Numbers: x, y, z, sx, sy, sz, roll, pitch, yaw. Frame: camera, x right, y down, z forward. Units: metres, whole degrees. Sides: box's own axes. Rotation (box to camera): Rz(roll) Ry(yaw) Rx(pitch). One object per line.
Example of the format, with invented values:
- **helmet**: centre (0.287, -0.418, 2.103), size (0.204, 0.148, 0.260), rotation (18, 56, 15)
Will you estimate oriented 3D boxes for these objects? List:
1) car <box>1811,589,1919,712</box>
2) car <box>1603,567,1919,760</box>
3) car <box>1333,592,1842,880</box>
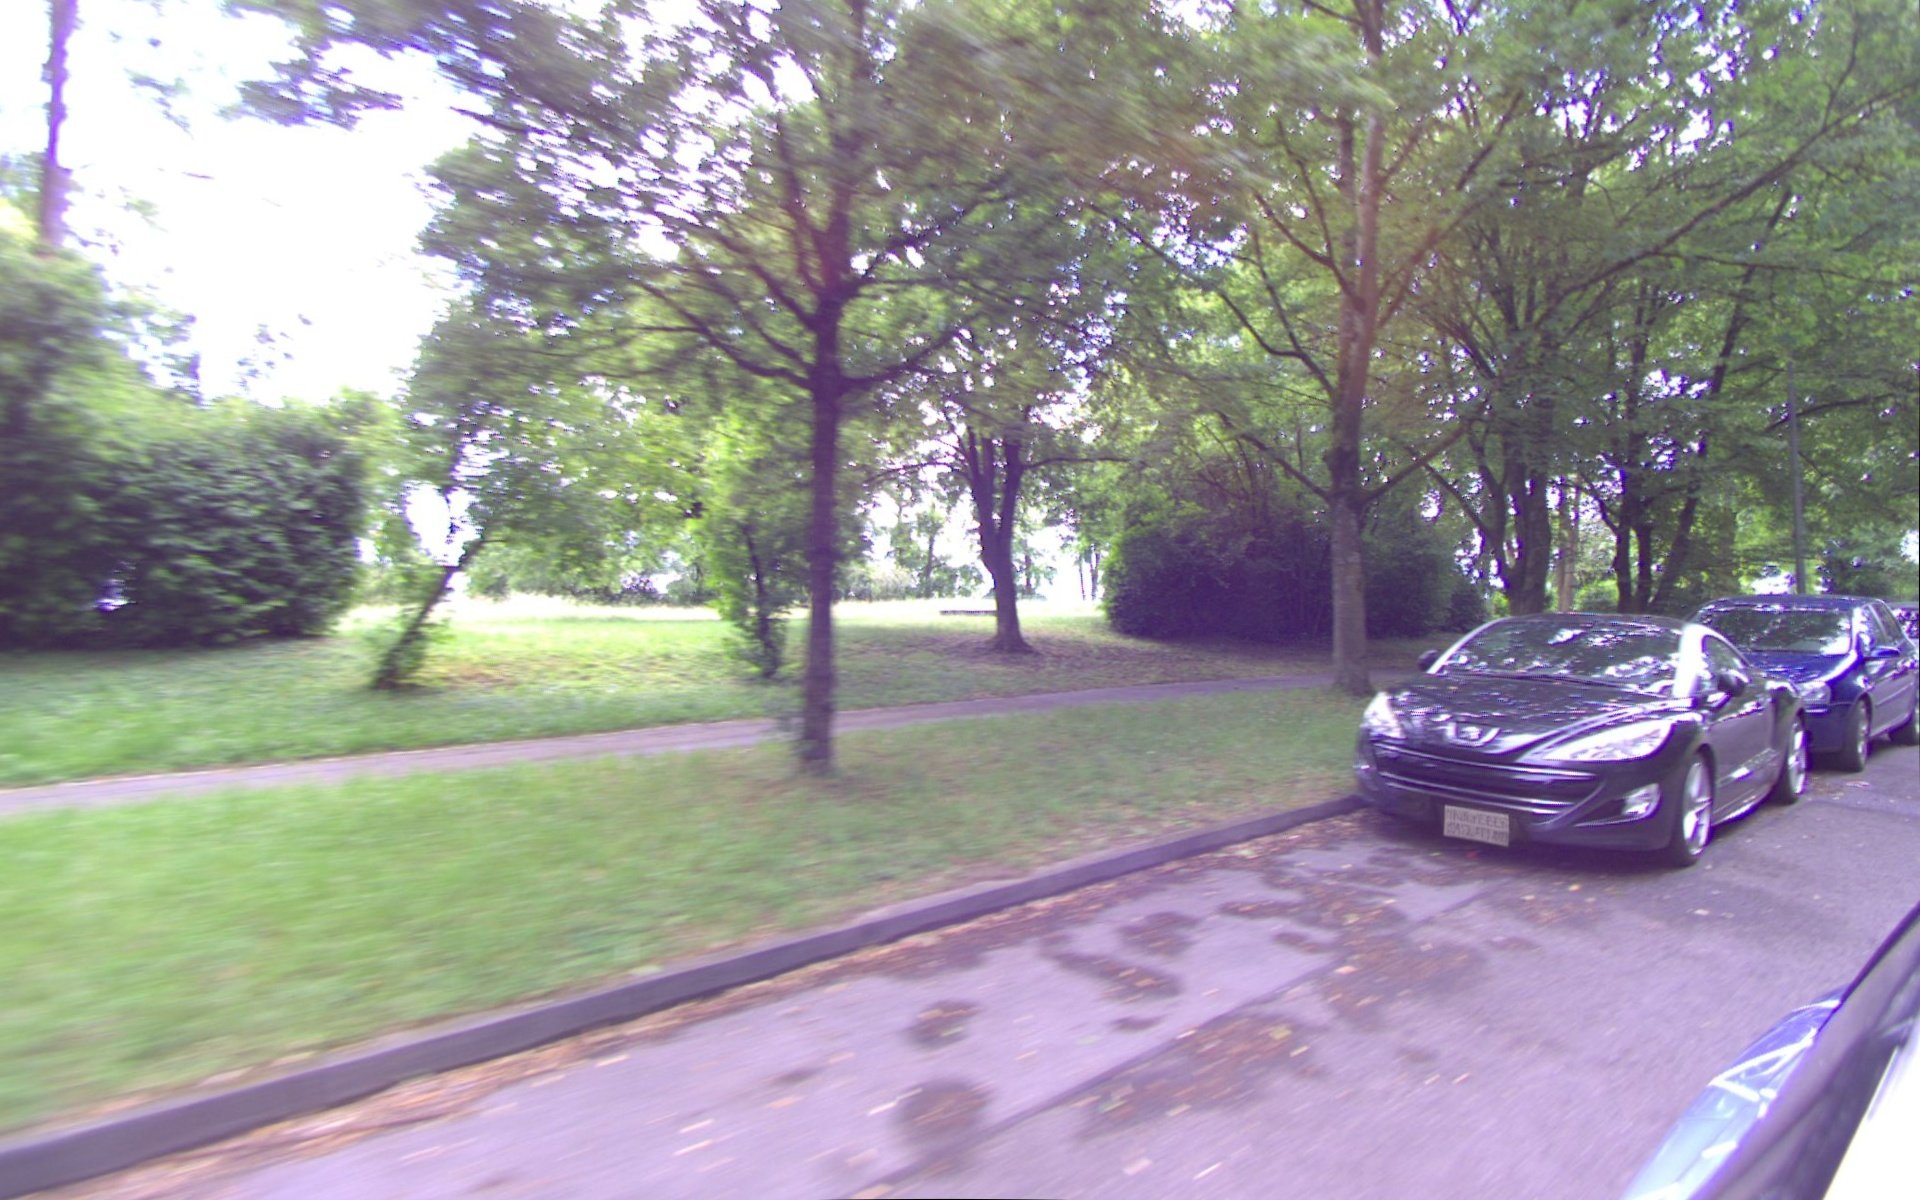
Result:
- **car**: centre (13.188, 0.602, 13.673), size (3.875, 1.449, 1.723), rotation (-1, 2, -36)
- **car**: centre (8.132, 0.489, 9.946), size (4.104, 1.529, 1.718), rotation (-1, -1, -37)
- **car**: centre (4.509, 0.646, 6.971), size (4.338, 1.354, 1.753), rotation (-1, 0, -41)
